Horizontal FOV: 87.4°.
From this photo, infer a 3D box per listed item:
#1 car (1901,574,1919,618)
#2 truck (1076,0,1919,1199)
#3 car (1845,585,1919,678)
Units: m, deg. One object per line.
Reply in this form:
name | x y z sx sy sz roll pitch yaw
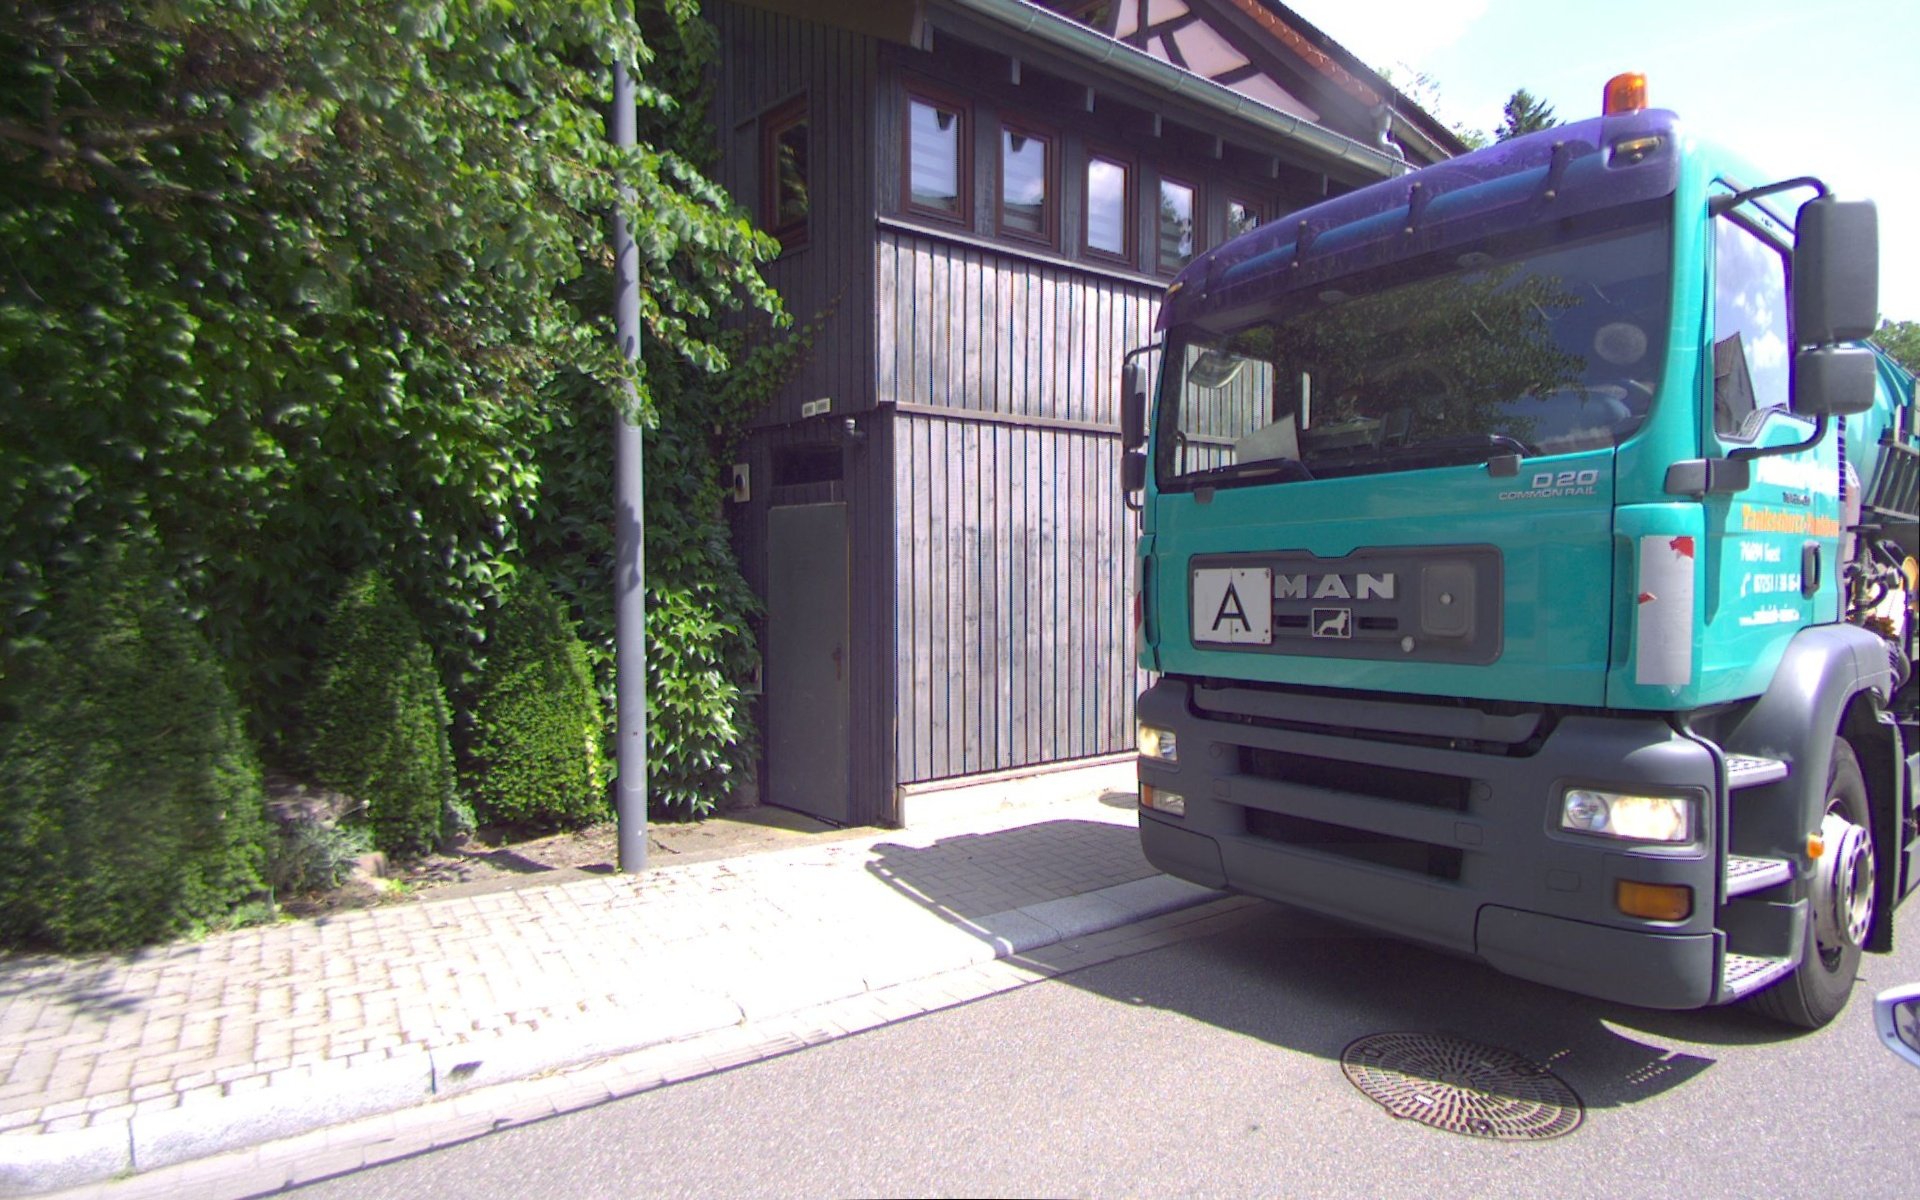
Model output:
car | 36.393 -0.177 37.274 3.823 1.551 1.703 -2 2 -40
truck | 4.915 -0.374 6.419 9.485 3.707 2.392 0 0 -39
car | 17.407 0.493 18.033 4.581 1.520 1.877 -1 2 -44
